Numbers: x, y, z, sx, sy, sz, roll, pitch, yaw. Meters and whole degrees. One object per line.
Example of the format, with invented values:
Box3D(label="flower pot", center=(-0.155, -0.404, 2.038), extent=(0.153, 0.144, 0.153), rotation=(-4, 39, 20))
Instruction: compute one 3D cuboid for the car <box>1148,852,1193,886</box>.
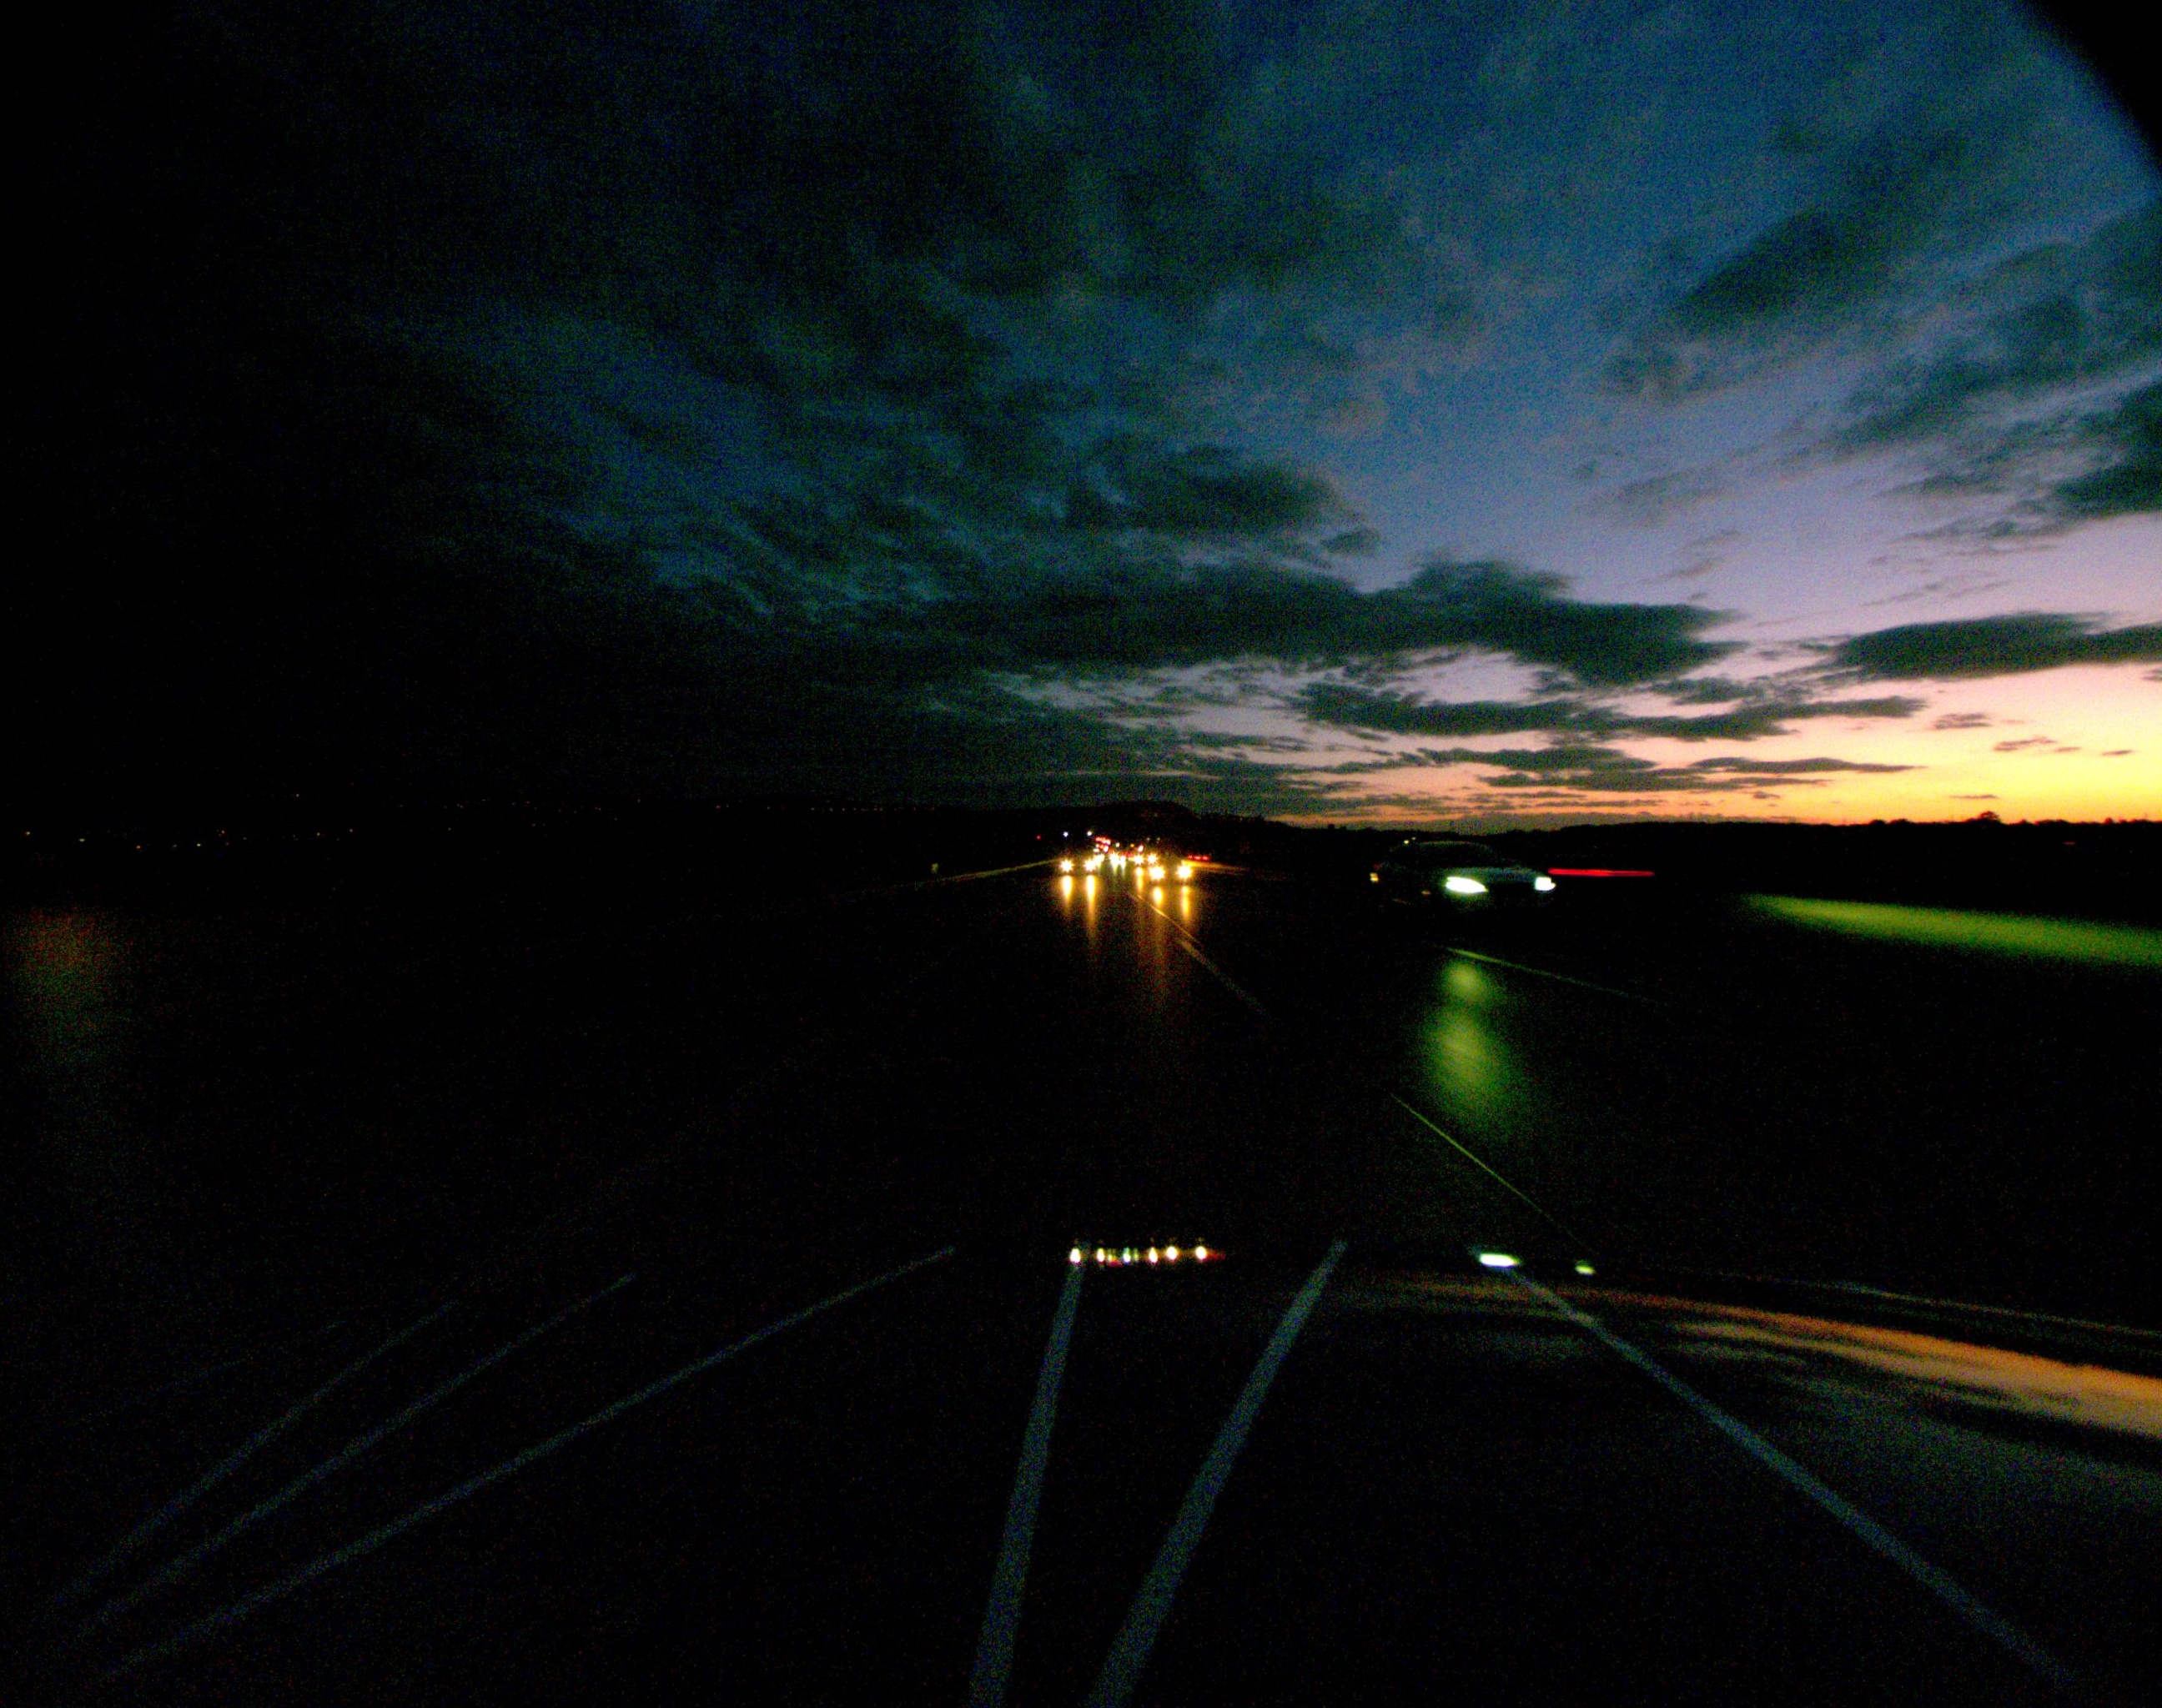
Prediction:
Box3D(label="car", center=(4.533, 0.719, 39.001), extent=(1.802, 1.531, 4.159), rotation=(-2, 1, 1))

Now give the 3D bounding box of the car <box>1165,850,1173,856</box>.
Box3D(label="car", center=(25.541, -0.321, 220.061), extent=(1.662, 1.526, 4.519), rotation=(-2, 1, 1))

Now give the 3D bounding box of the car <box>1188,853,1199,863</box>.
Box3D(label="car", center=(24.579, 0.927, 165.901), extent=(1.778, 2.002, 4.418), rotation=(-2, 1, 1))

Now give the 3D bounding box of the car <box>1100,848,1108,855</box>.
Box3D(label="car", center=(5.597, -0.632, 186.365), extent=(1.862, 1.826, 3.999), rotation=(-2, 1, 1))

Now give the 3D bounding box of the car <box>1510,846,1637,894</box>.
Box3D(label="car", center=(15.832, 0.450, 24.681), extent=(1.608, 1.379, 3.901), rotation=(-2, 1, 1))

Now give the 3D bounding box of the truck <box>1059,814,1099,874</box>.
Box3D(label="truck", center=(-0.051, -0.781, 66.331), extent=(3.012, 4.570, 12.578), rotation=(-2, 0, 1))

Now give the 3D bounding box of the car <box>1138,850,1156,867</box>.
Box3D(label="car", center=(7.917, 0.540, 91.469), extent=(1.862, 1.826, 3.999), rotation=(-2, 1, 1))

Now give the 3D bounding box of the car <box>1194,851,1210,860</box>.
Box3D(label="car", center=(18.103, 0.186, 113.688), extent=(1.676, 1.293, 4.704), rotation=(-2, 1, 1))

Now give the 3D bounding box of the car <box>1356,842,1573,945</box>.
Box3D(label="car", center=(7.208, 0.622, 14.970), extent=(1.819, 1.638, 4.856), rotation=(-2, 1, 1))

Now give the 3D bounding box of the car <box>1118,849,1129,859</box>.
Box3D(label="car", center=(8.380, 0.078, 149.792), extent=(1.862, 1.826, 3.999), rotation=(-2, 1, 1))

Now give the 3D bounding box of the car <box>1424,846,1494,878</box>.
Box3D(label="car", center=(23.991, 0.451, 48.428), extent=(1.998, 1.836, 4.957), rotation=(-2, 1, 1))
